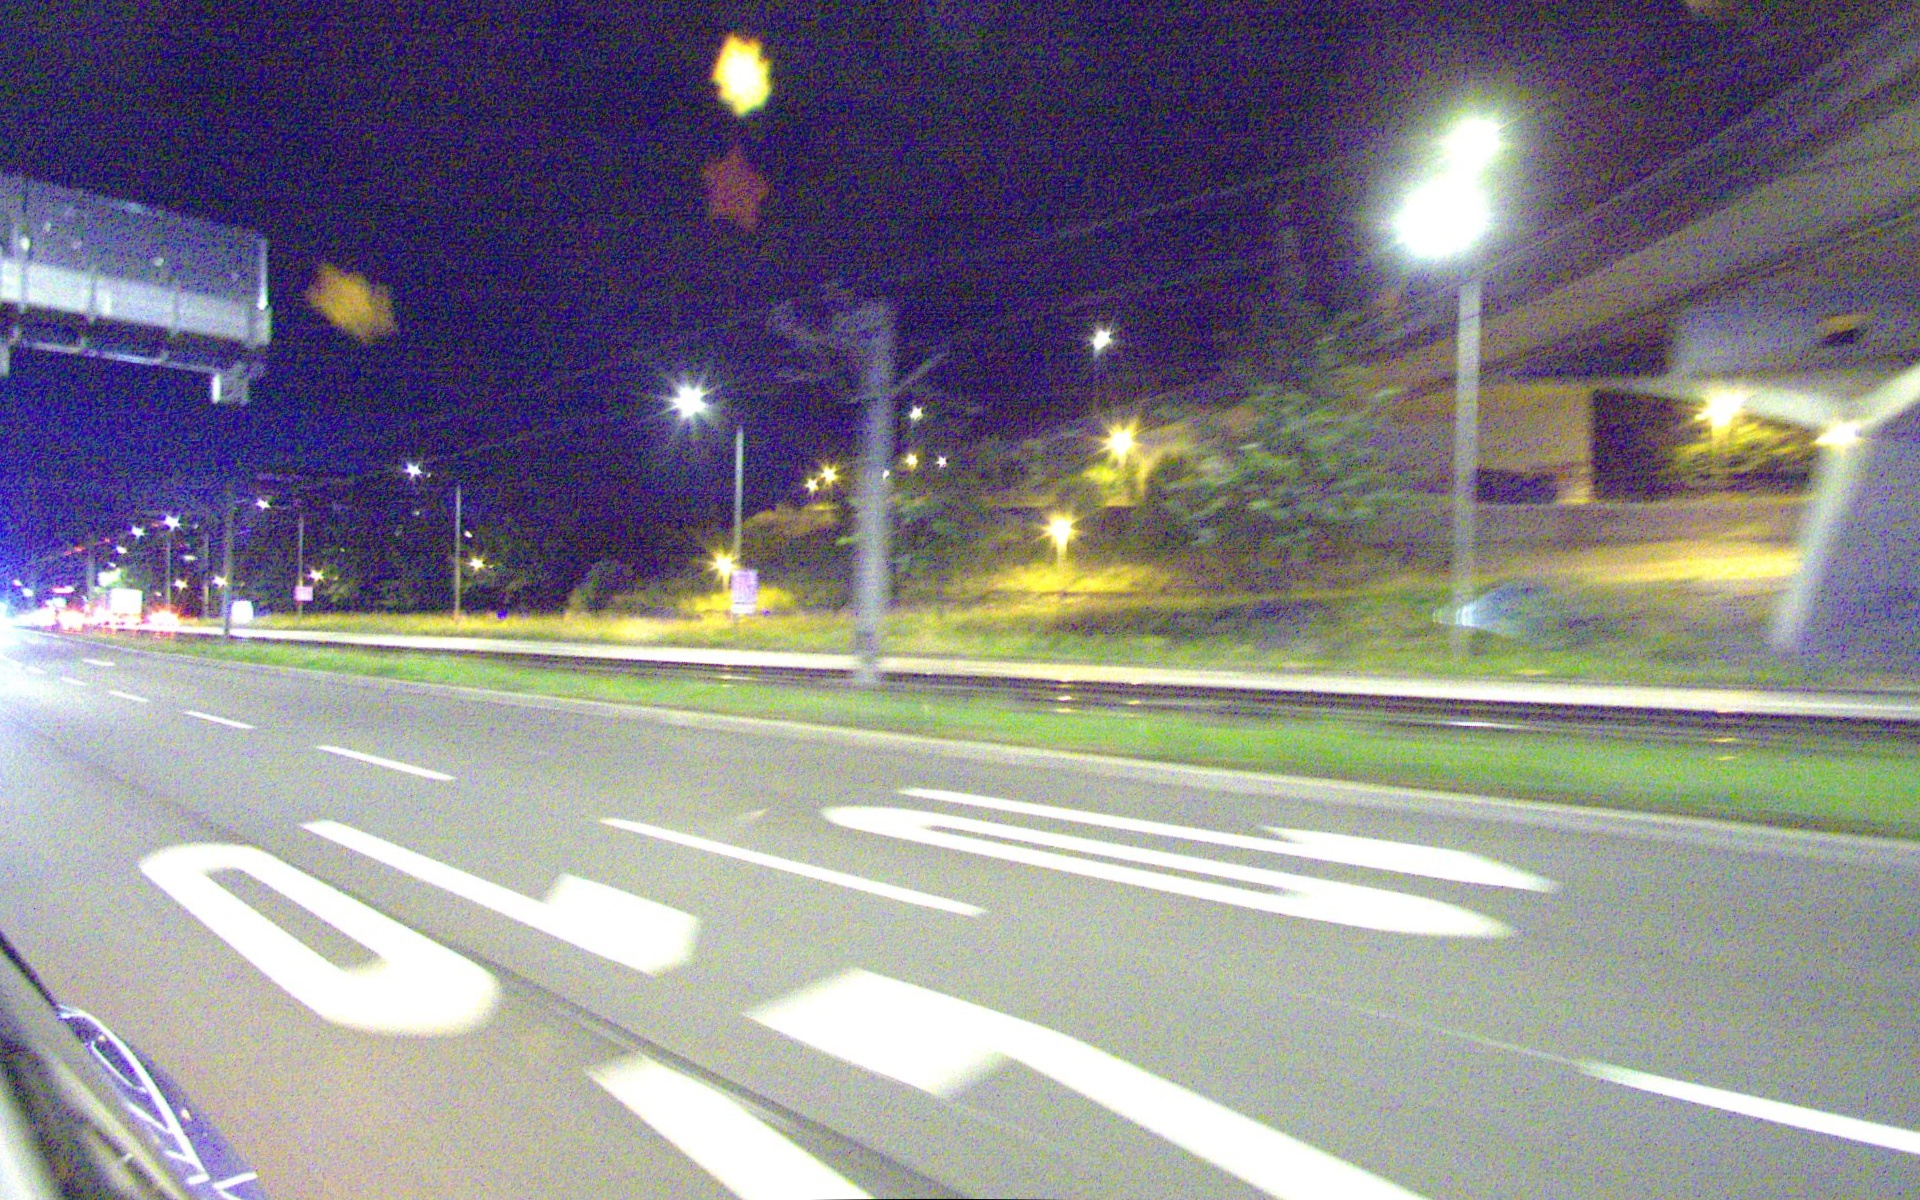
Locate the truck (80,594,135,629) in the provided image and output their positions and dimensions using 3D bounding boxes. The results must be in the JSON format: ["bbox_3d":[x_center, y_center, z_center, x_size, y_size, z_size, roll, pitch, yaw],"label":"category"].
[{"bbox_3d":[-103.945,1.346,123.357,10.418,3.984,3.642,0,1,42],"label":"truck"}]

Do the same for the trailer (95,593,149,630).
[{"bbox_3d":[-96.924,1.306,117.019,8.393,4.019,3.657,0,1,42],"label":"trailer"}]

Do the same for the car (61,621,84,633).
[{"bbox_3d":[-118.630,3.586,135.333,4.083,1.510,1.785,0,0,41],"label":"car"}]

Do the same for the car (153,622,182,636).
[{"bbox_3d":[-90.756,3.302,115.902,4.203,1.492,1.965,-1,-2,42],"label":"car"}]
